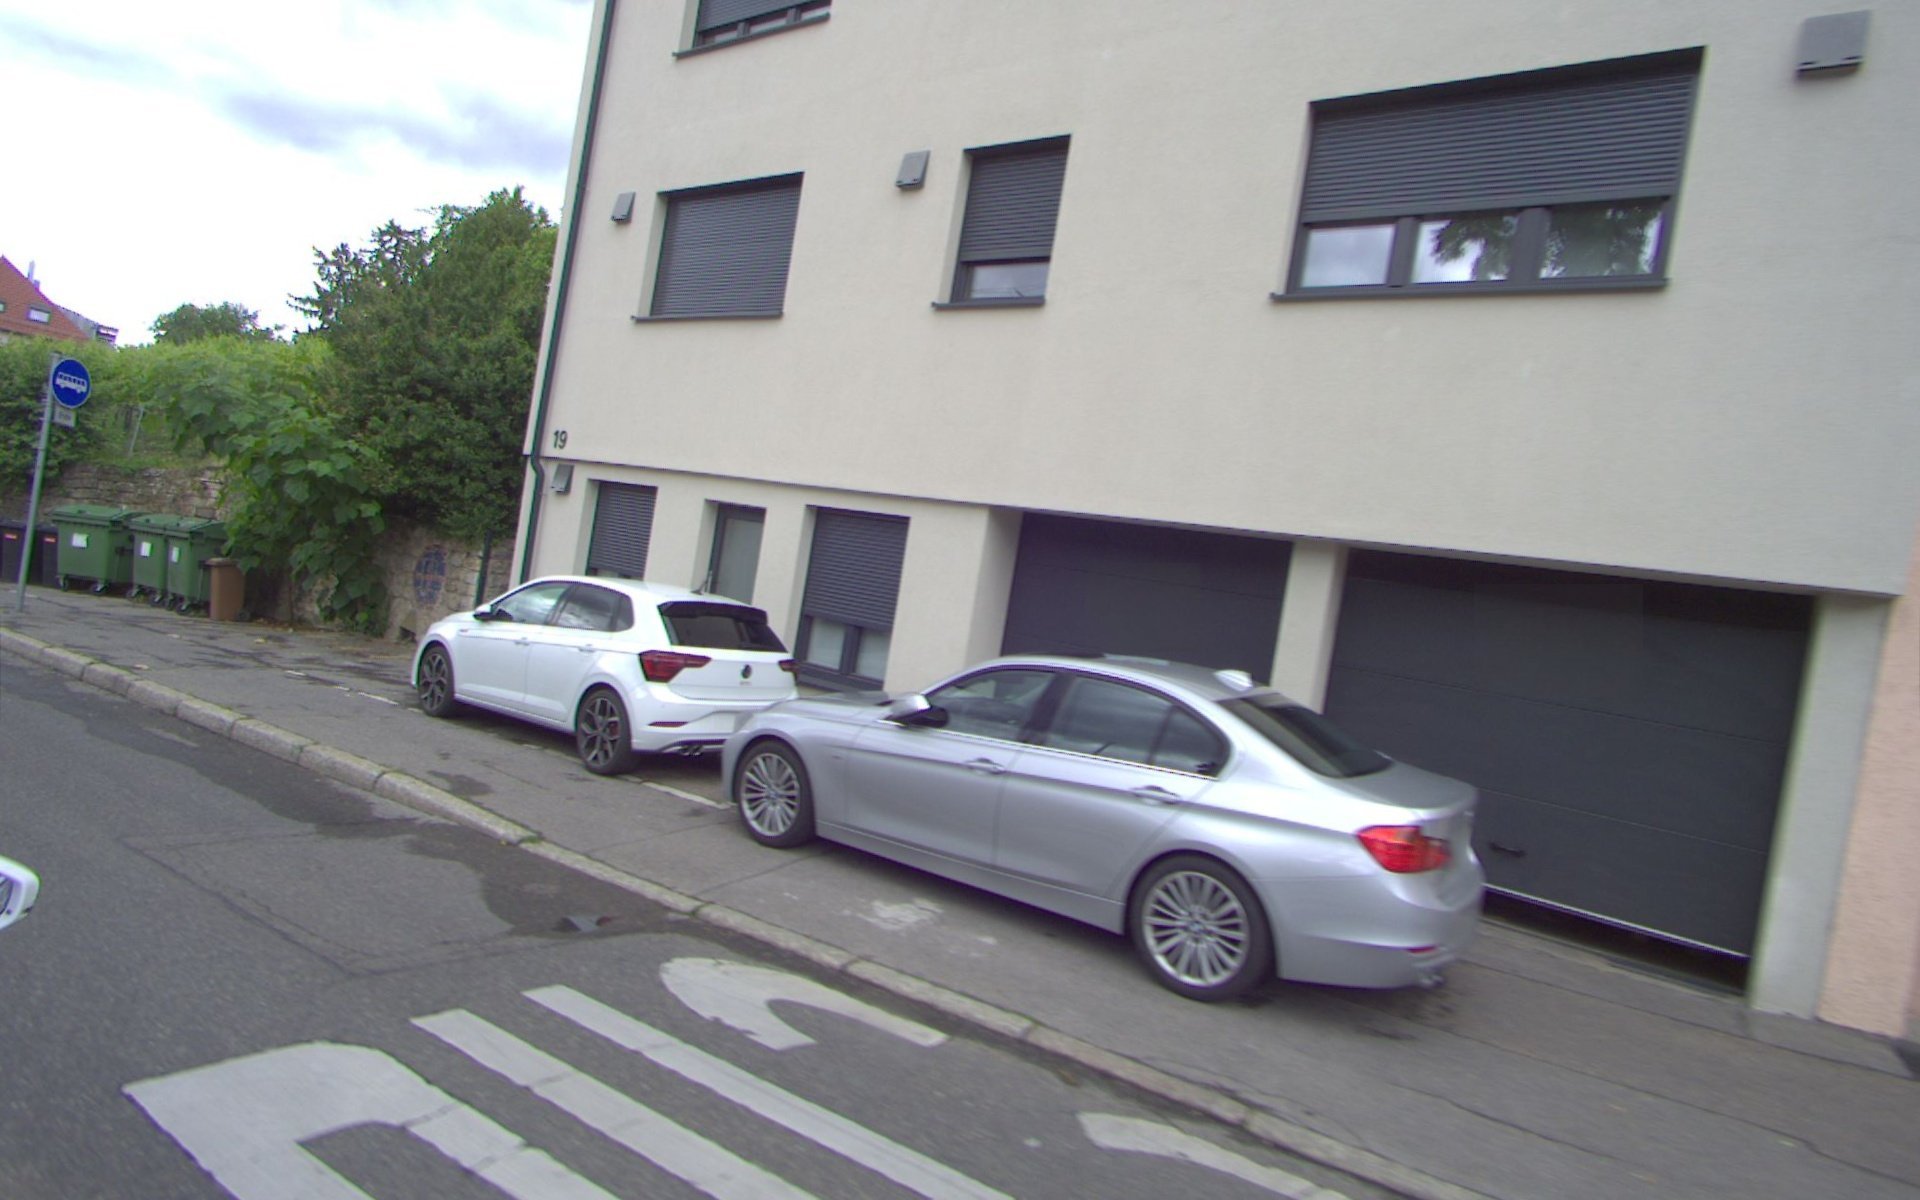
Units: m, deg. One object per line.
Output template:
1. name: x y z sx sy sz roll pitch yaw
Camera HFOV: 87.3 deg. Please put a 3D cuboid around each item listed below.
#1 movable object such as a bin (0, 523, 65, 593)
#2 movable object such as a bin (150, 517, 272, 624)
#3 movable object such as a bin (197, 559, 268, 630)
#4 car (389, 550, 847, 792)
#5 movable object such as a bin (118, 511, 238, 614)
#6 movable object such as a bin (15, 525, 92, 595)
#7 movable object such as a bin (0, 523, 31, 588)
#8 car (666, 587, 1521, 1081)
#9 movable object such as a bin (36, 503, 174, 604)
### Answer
1. movable object such as a bin: -15.970 -0.718 17.153 0.666 1.071 0.745 7 -1 17
2. movable object such as a bin: -11.588 -0.449 15.571 1.185 1.462 1.049 7 -1 33
3. movable object such as a bin: -10.853 -0.081 15.013 0.630 0.953 0.595 7 -1 33
4. car: -3.132 0.502 8.928 3.942 1.441 1.794 7 1 36
5. movable object such as a bin: -12.709 -0.603 16.353 1.184 1.462 1.049 7 -1 30
6. movable object such as a bin: -15.346 -0.662 17.047 0.537 1.071 0.712 7 -1 17
7. movable object such as a bin: -16.743 -0.800 17.337 0.666 1.071 0.745 7 -1 17
8. car: 0.523 0.939 5.992 4.643 1.470 1.793 8 3 35
9. movable object such as a bin: -14.325 -0.767 16.880 1.392 1.462 1.051 7 -1 17
